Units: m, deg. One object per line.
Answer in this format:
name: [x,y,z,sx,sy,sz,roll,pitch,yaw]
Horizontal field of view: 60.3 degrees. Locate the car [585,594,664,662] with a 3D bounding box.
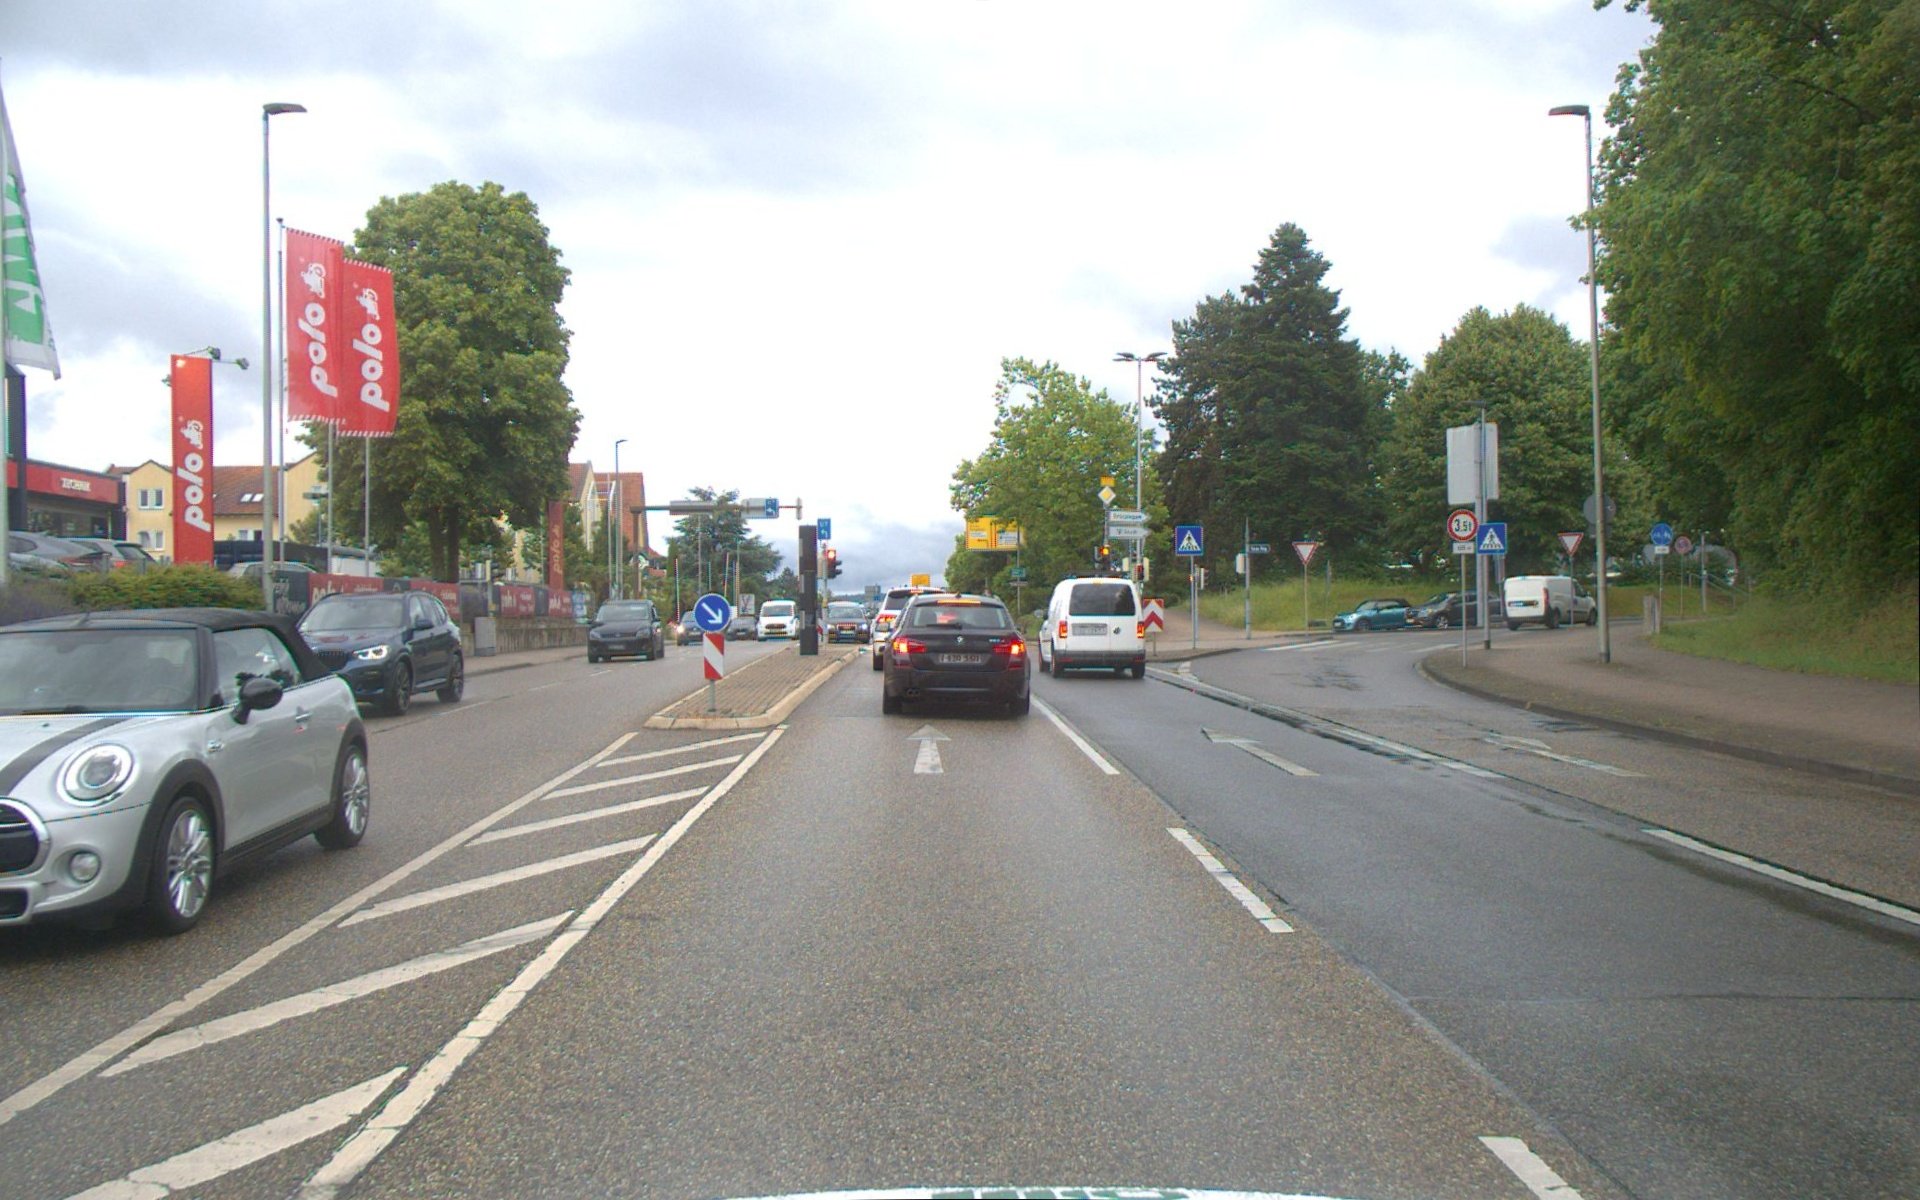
car: [-9.096,0.725,45.089,1.723,1.706,4.142,-2,0,-7]

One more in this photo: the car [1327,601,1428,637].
car: [17.670,0.805,70.045,3.928,1.316,1.600,-3,1,-20]

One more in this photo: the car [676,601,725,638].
car: [-11.119,0.813,70.984,1.602,1.405,3.763,-3,1,-3]

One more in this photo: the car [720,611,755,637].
car: [-13.057,1.414,97.106,1.634,1.406,4.070,-1,0,-2]

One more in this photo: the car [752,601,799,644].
car: [-8.517,1.020,76.737,1.821,1.855,4.576,-3,0,-3]

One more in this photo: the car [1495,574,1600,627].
car: [20.837,-0.010,58.607,3.908,1.738,1.794,-2,2,-40]

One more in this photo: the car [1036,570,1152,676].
car: [2.492,0.400,31.585,1.706,1.902,3.944,0,0,-3]

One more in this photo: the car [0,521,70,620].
car: [-16.240,-0.418,25.782,3.755,1.508,1.738,-1,0,-9]

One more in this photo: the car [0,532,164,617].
car: [-17.162,-0.463,31.339,3.347,1.536,1.582,-1,0,-3]

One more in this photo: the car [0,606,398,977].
car: [-4.315,0.796,8.537,1.634,1.422,3.997,-2,0,-4]

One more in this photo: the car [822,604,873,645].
car: [-4.308,0.919,63.181,1.857,1.481,4.093,-1,0,-5]

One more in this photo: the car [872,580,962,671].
car: [-0.849,0.480,34.368,1.692,1.740,3.383,0,1,2]

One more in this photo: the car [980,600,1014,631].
car: [1.782,0.744,81.405,1.567,1.395,3.680,-2,1,0]

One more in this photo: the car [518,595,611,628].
car: [-19.574,0.562,81.830,4.148,1.481,1.783,-1,0,-29]

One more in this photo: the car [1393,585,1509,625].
car: [20.066,0.201,67.661,4.252,1.492,1.890,-2,0,-19]

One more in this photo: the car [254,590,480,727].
car: [-8.246,0.736,23.443,1.716,1.638,4.530,-3,1,-3]

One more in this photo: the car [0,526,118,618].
car: [-16.673,-0.454,28.351,3.579,1.508,1.738,-1,0,-9]

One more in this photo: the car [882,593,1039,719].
car: [0.036,0.652,21.180,1.816,1.444,3.957,0,0,1]
